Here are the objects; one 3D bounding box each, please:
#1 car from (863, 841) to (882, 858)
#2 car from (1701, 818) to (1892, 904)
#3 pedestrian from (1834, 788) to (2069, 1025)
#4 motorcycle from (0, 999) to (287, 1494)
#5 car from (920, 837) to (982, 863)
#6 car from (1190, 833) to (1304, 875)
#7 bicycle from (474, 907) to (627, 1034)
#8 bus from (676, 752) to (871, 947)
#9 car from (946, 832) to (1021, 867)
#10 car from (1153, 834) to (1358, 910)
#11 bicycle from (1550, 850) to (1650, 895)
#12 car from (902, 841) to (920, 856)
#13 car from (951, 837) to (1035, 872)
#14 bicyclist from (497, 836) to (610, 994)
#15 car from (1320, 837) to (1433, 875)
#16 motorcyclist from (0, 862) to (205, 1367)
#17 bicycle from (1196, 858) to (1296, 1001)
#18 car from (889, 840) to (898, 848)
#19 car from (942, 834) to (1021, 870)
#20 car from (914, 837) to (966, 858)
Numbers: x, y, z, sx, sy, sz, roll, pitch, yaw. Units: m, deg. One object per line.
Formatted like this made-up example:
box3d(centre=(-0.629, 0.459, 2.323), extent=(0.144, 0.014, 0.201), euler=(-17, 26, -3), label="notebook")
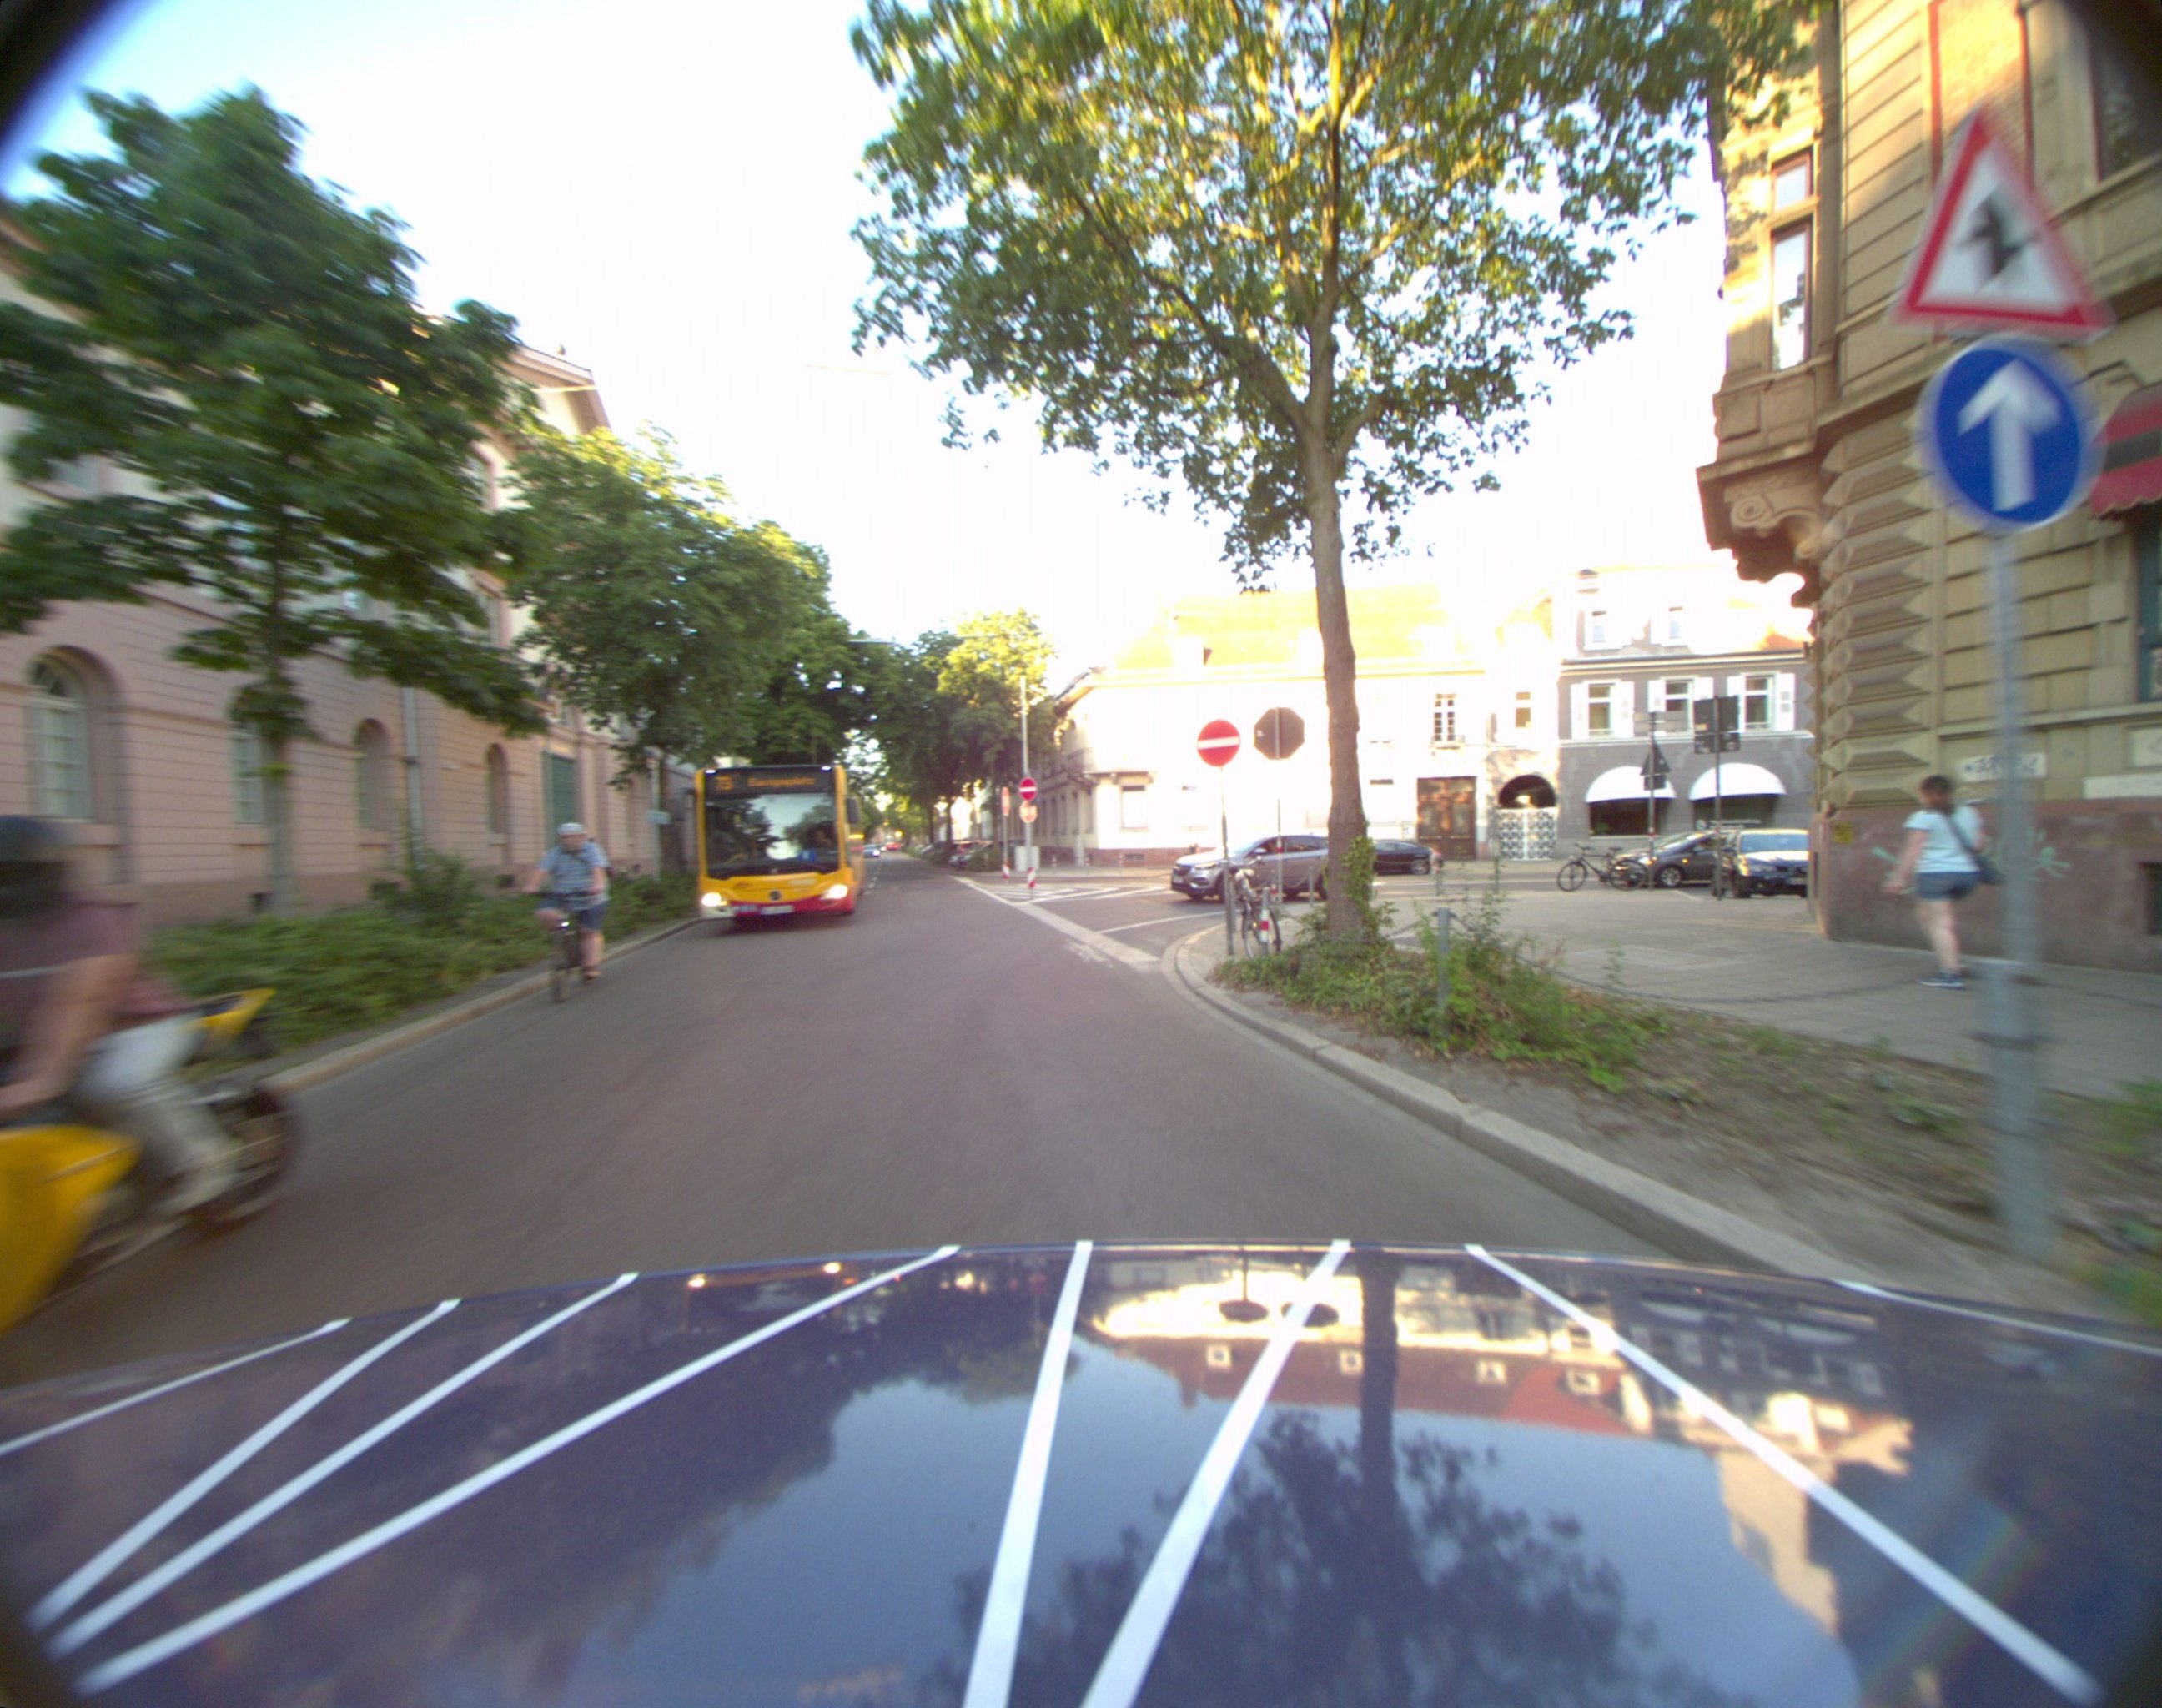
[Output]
box3d(centre=(-22.497, -0.512, 82.199), extent=(1.846, 1.699, 3.994), euler=(-2, 2, -15), label="car")
box3d(centre=(13.789, 0.168, 14.961), extent=(1.884, 1.421, 4.369), euler=(-1, -1, 31), label="car")
box3d(centre=(6.287, 0.353, 5.552), extent=(0.653, 1.556, 0.907), euler=(-4, 1, 9), label="pedestrian")
box3d(centre=(-3.445, 1.194, 2.281), extent=(0.739, 1.054, 1.960), euler=(-3, 3, -25), label="motorcycle")
box3d(centre=(-9.255, -0.330, 54.008), extent=(4.004, 1.699, 1.996), euler=(-2, 2, -22), label="car")
box3d(centre=(6.500, -0.009, 30.023), extent=(4.264, 1.521, 1.834), euler=(-1, 2, 10), label="car")
box3d(centre=(-5.510, 1.150, 8.043), extent=(0.638, 0.978, 1.978), euler=(-4, 2, -15), label="bicycle")
box3d(centre=(-6.773, -0.233, 18.665), extent=(2.671, 3.177, 11.880), euler=(-3, 2, -14), label="bus")
box3d(centre=(-5.750, -0.300, 44.783), extent=(4.004, 1.940, 1.996), euler=(-2, 2, -22), label="car")
box3d(centre=(4.097, 0.344, 17.984), extent=(4.363, 1.561, 1.944), euler=(-2, 3, -19), label="car")
box3d(centre=(11.467, 0.412, 16.835), extent=(1.760, 0.965, 0.539), euler=(-1, -1, 25), label="bicycle")
box3d(centre=(-19.119, -0.633, 85.563), extent=(1.801, 1.502, 3.994), euler=(-2, 2, -15), label="car")
box3d(centre=(-4.609, -0.015, 39.738), extent=(4.004, 1.660, 1.796), euler=(-2, 2, -22), label="car")
box3d(centre=(-5.563, 0.605, 8.065), extent=(0.638, 1.552, 0.817), euler=(-4, 2, -15), label="bicyclist")
box3d(centre=(11.340, 0.065, 29.367), extent=(3.810, 1.318, 1.834), euler=(-1, 2, 11), label="car")
box3d(centre=(-3.482, 0.754, 2.321), extent=(0.739, 1.404, 0.725), euler=(-3, 3, -25), label="motorcyclist")
box3d(centre=(1.724, 0.705, 8.147), extent=(0.805, 1.217, 2.419), euler=(-5, 0, 10), label="bicycle")
box3d(centre=(-42.349, -2.305, 171.790), extent=(1.846, 1.699, 4.151), euler=(-2, 2, -15), label="car")
box3d(centre=(-5.549, -0.134, 42.286), extent=(4.004, 1.801, 1.796), euler=(-2, 2, -22), label="car")
box3d(centre=(-12.036, -0.580, 64.764), extent=(4.004, 1.699, 1.841), euler=(-2, 2, -22), label="car")
